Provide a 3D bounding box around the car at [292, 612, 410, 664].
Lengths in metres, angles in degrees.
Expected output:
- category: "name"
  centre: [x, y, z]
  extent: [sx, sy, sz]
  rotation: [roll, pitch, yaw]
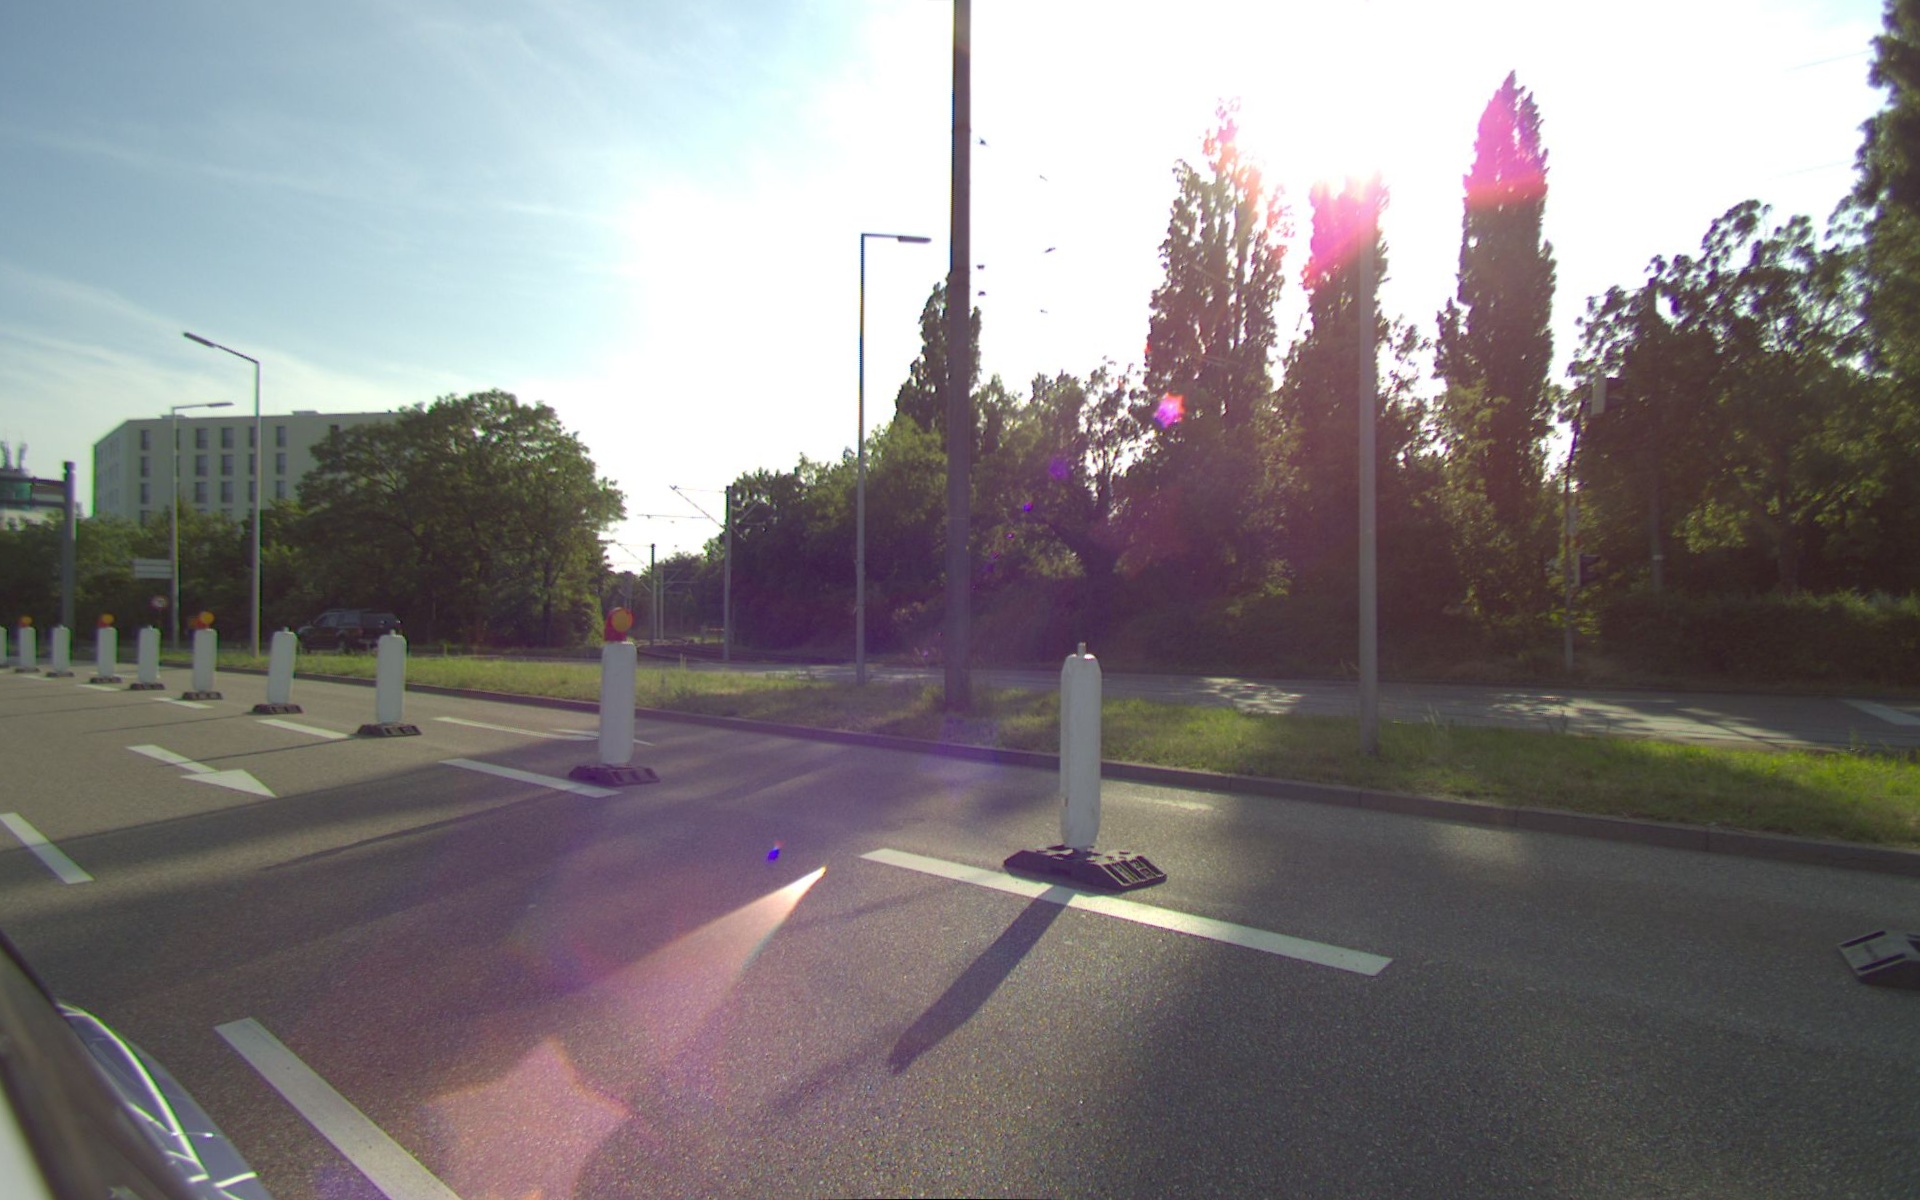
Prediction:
- category: "car"
  centre: [-25.387, 1.551, 42.103]
  extent: [5.339, 2.029, 1.978]
  rotation: [-1, -2, 32]
